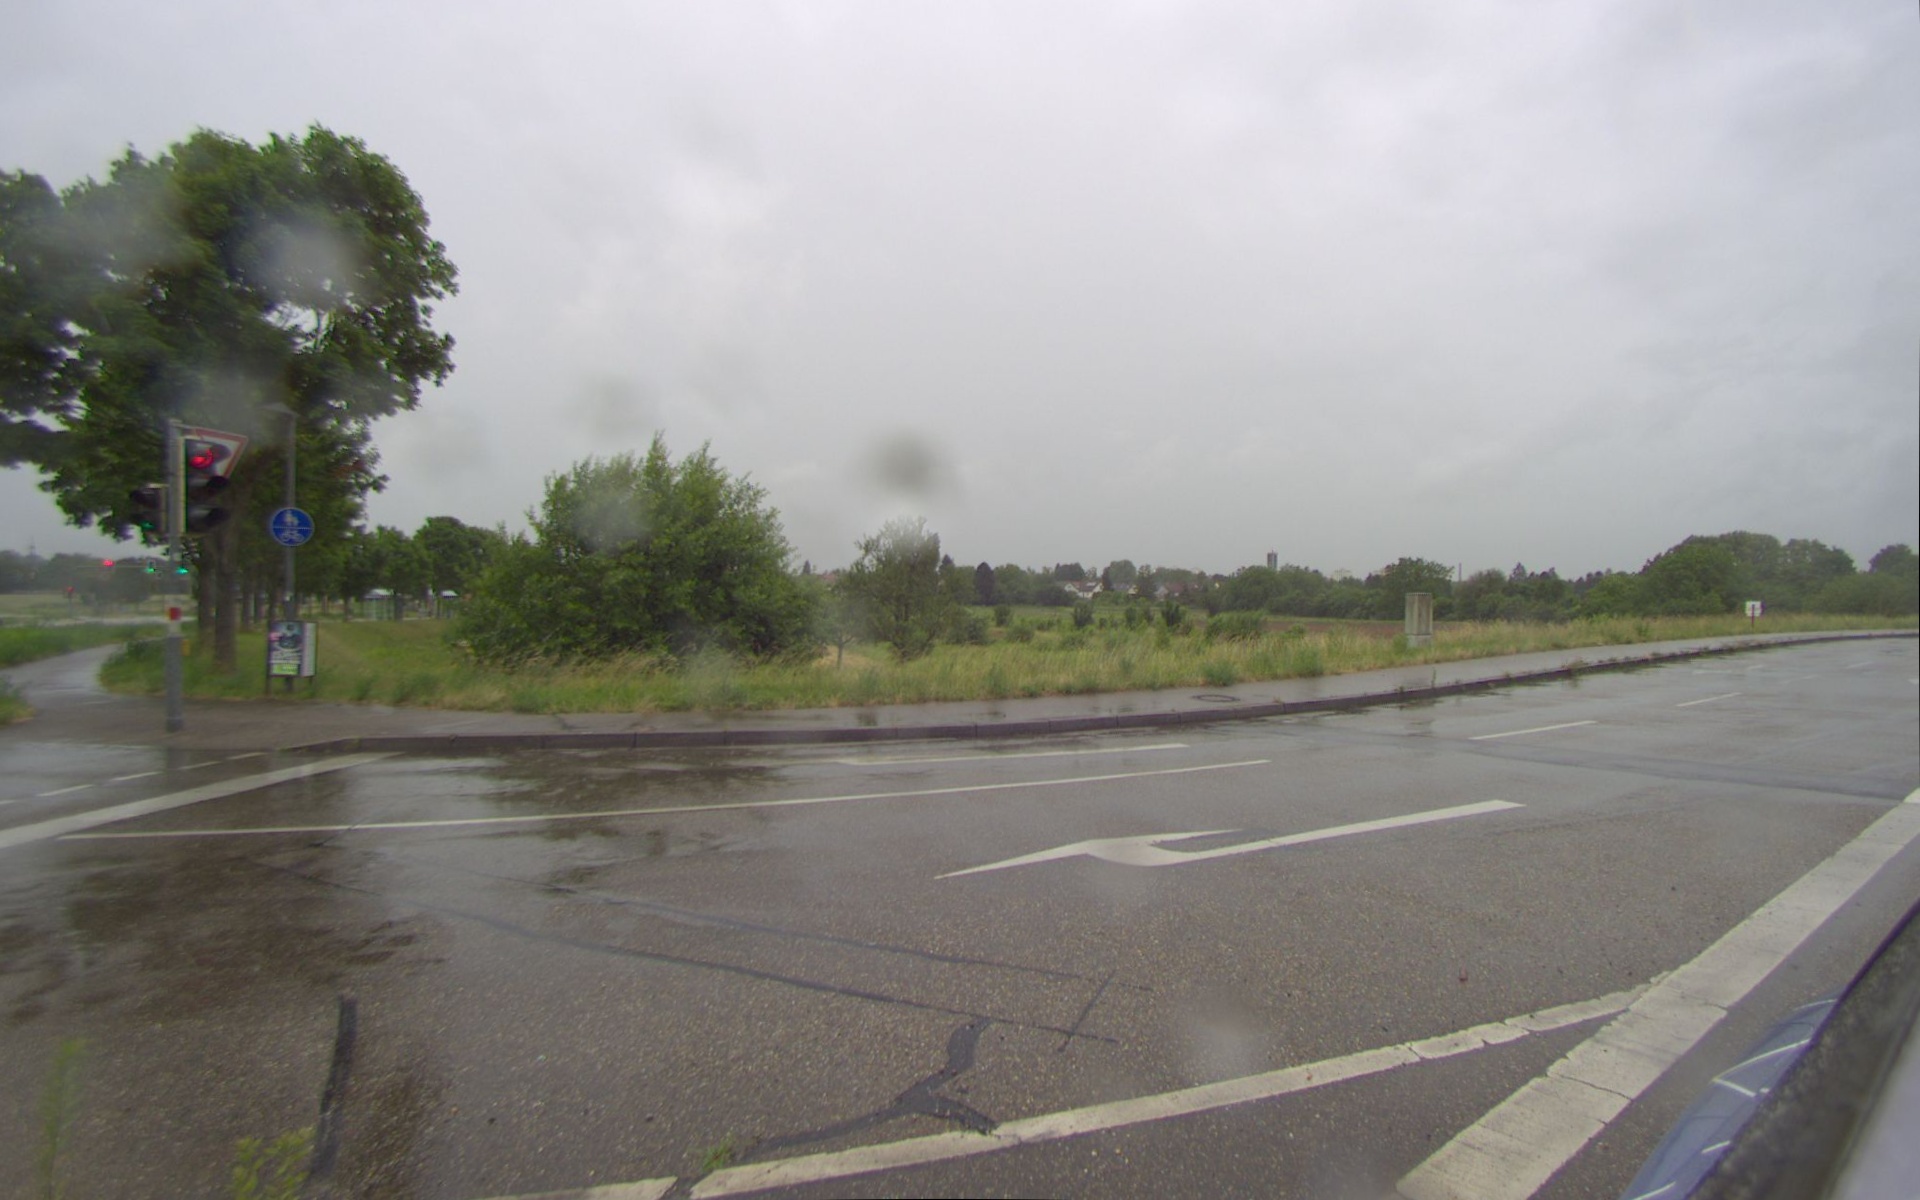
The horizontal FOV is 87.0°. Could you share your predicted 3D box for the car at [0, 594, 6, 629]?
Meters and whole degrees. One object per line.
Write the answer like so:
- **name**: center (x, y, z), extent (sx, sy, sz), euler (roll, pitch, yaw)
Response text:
- **car**: center (-43.208, 0.531, 43.953), extent (1.698, 1.599, 4.392), euler (0, 0, -32)
